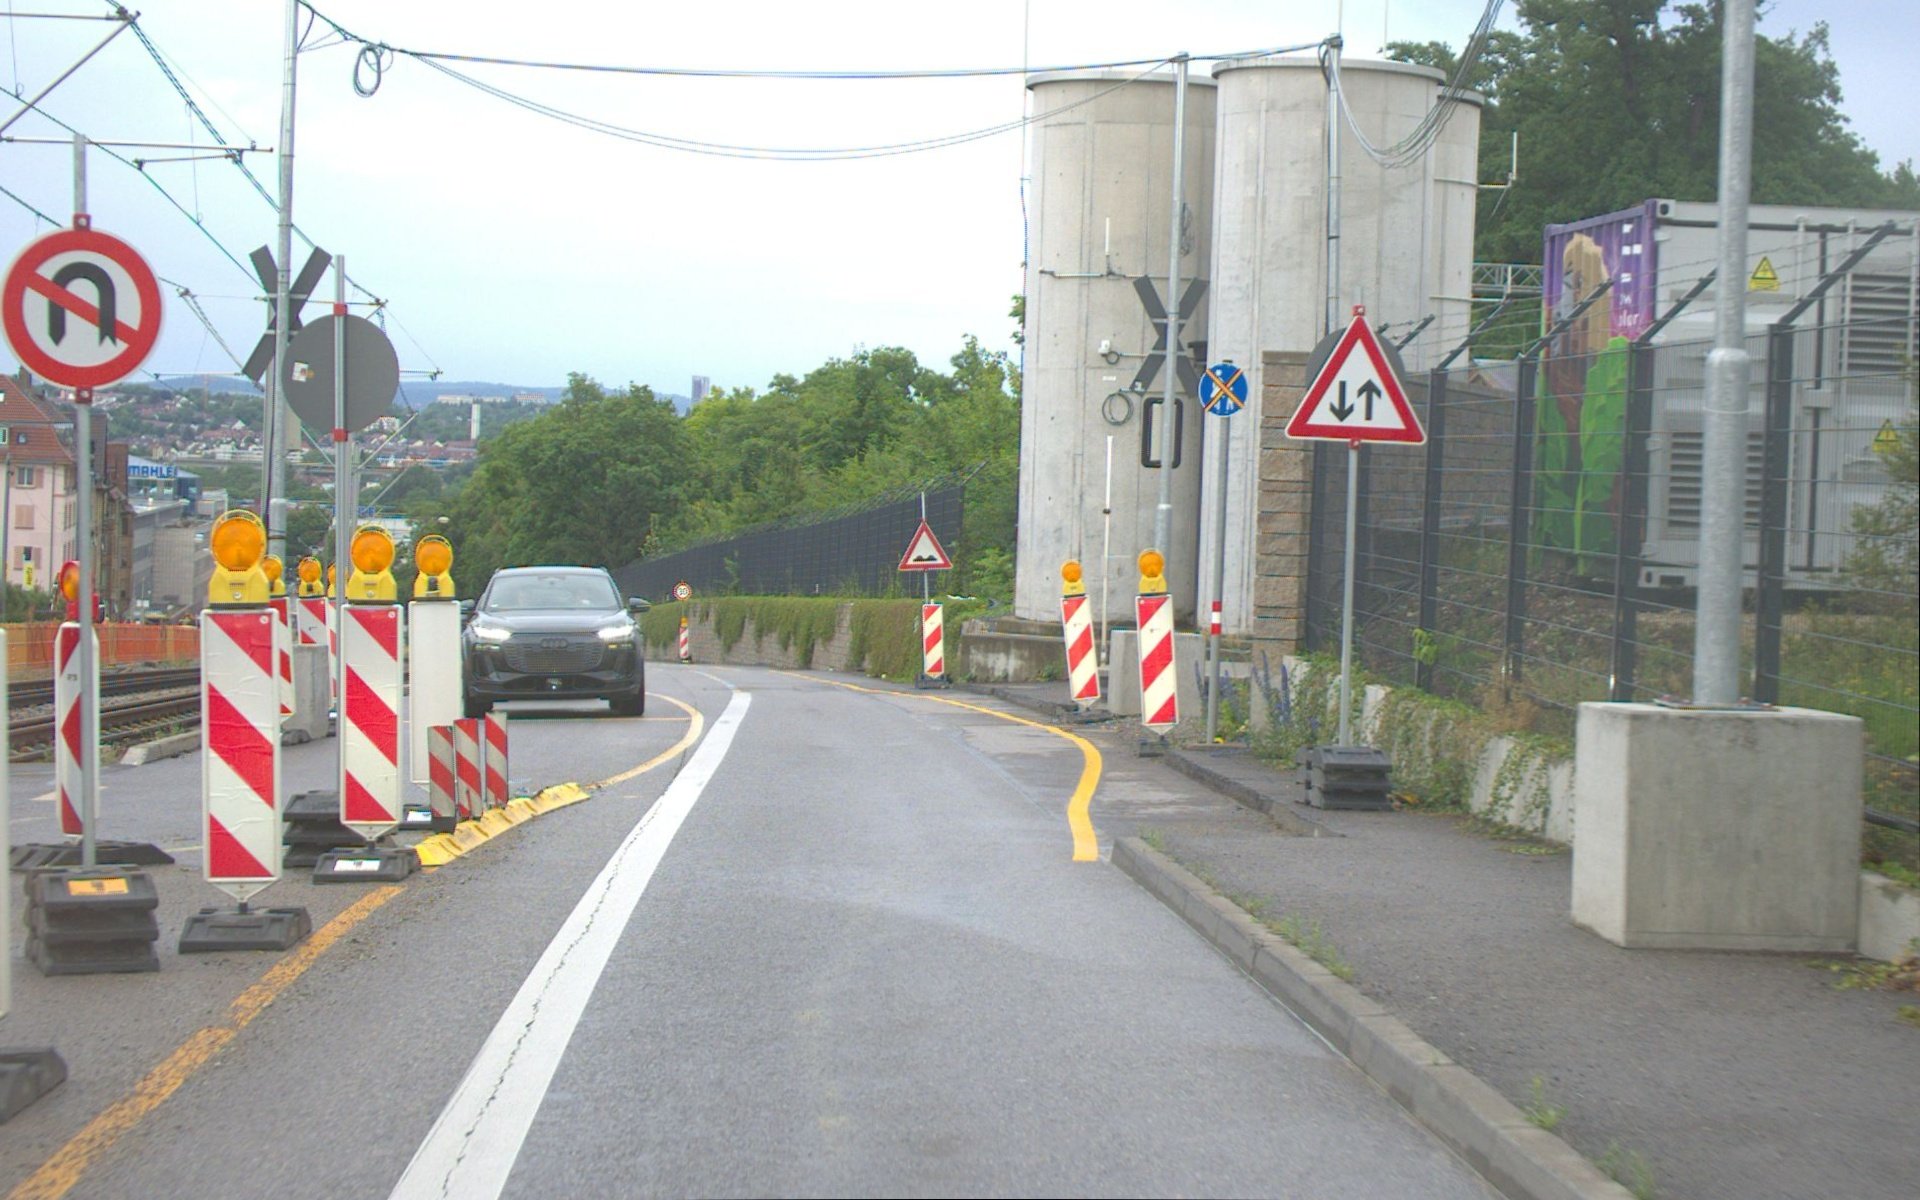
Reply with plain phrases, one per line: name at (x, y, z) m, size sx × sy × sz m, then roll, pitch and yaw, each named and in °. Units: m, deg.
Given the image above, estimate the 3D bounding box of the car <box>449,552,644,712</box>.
car at (-4.702, 0.327, 38.625) m, size 1.993 × 1.672 × 4.490 m, roll 1°, pitch 0°, yaw -9°
